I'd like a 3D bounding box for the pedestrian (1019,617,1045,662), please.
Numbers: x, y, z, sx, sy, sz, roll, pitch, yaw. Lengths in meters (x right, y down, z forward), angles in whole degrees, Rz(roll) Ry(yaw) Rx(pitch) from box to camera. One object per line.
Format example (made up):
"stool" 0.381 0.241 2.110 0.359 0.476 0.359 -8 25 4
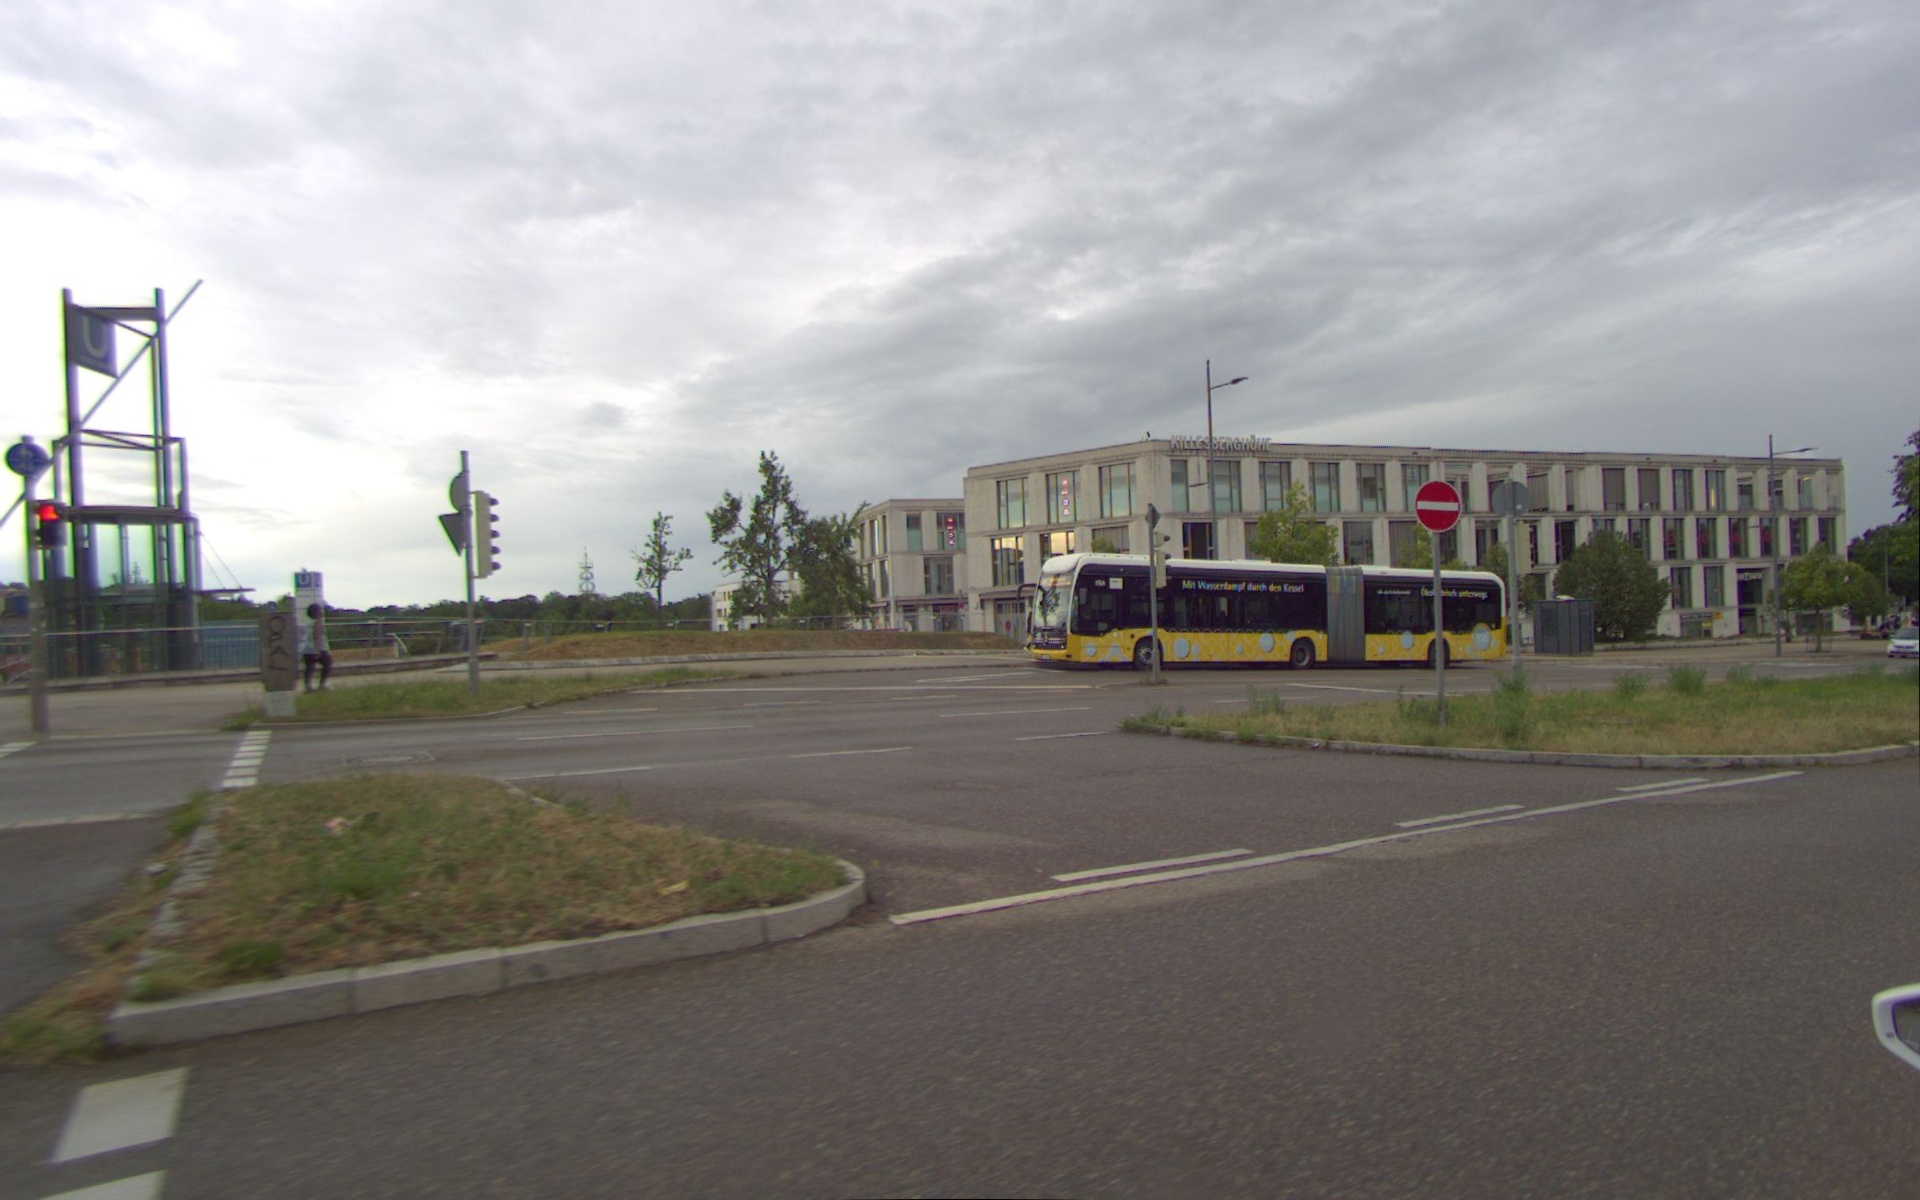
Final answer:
"pedestrian" 2.797 1.510 38.925 0.860 1.718 0.558 1 -1 -27

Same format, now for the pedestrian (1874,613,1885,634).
"pedestrian" 65.635 1.682 71.684 0.504 1.470 0.424 -1 -1 -30

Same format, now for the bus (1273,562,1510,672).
"bus" 15.085 0.598 35.033 8.114 3.518 2.815 1 0 -23

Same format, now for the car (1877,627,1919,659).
"car" 48.555 2.176 51.438 2.937 1.528 1.606 0 0 -30

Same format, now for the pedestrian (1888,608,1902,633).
"pedestrian" 65.661 1.413 70.558 0.559 1.748 0.522 -1 -1 -28

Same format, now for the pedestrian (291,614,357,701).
"pedestrian" -12.265 1.103 19.386 0.806 1.615 0.673 -2 0 21

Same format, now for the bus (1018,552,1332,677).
"bus" 6.825 0.476 31.455 9.832 3.518 2.815 1 0 -23
